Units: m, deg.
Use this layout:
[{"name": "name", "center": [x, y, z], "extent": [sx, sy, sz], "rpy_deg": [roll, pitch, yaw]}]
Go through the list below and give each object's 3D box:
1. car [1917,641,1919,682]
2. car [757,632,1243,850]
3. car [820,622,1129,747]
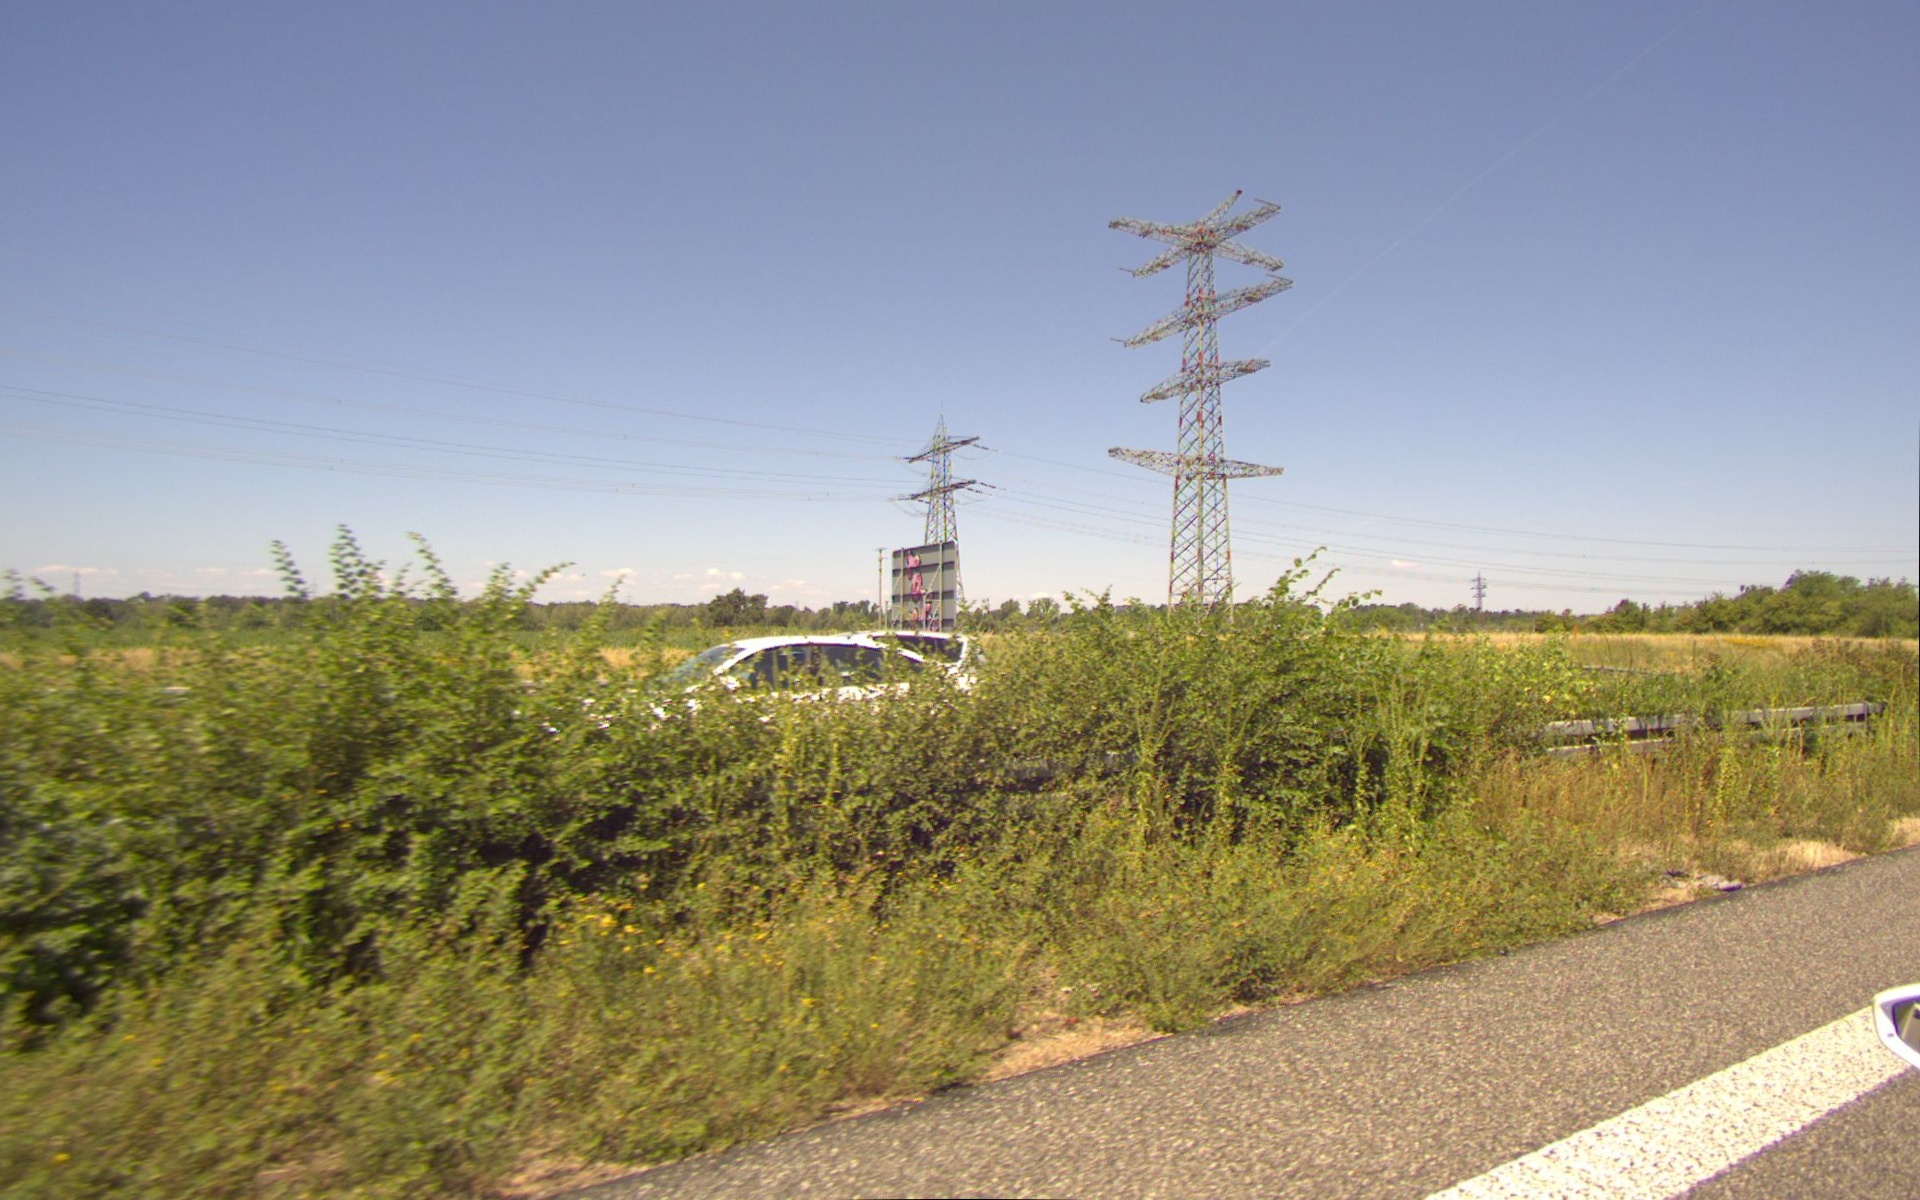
[{"name": "car", "center": [41.578, 2.537, 41.465], "extent": [4.505, 1.676, 1.853], "rpy_deg": [1, -1, -30]}, {"name": "car", "center": [0.493, 1.172, 9.815], "extent": [4.508, 1.676, 1.852], "rpy_deg": [1, -2, -32]}, {"name": "car", "center": [0.285, 1.220, 15.597], "extent": [4.505, 1.676, 1.853], "rpy_deg": [1, -1, -30]}]
